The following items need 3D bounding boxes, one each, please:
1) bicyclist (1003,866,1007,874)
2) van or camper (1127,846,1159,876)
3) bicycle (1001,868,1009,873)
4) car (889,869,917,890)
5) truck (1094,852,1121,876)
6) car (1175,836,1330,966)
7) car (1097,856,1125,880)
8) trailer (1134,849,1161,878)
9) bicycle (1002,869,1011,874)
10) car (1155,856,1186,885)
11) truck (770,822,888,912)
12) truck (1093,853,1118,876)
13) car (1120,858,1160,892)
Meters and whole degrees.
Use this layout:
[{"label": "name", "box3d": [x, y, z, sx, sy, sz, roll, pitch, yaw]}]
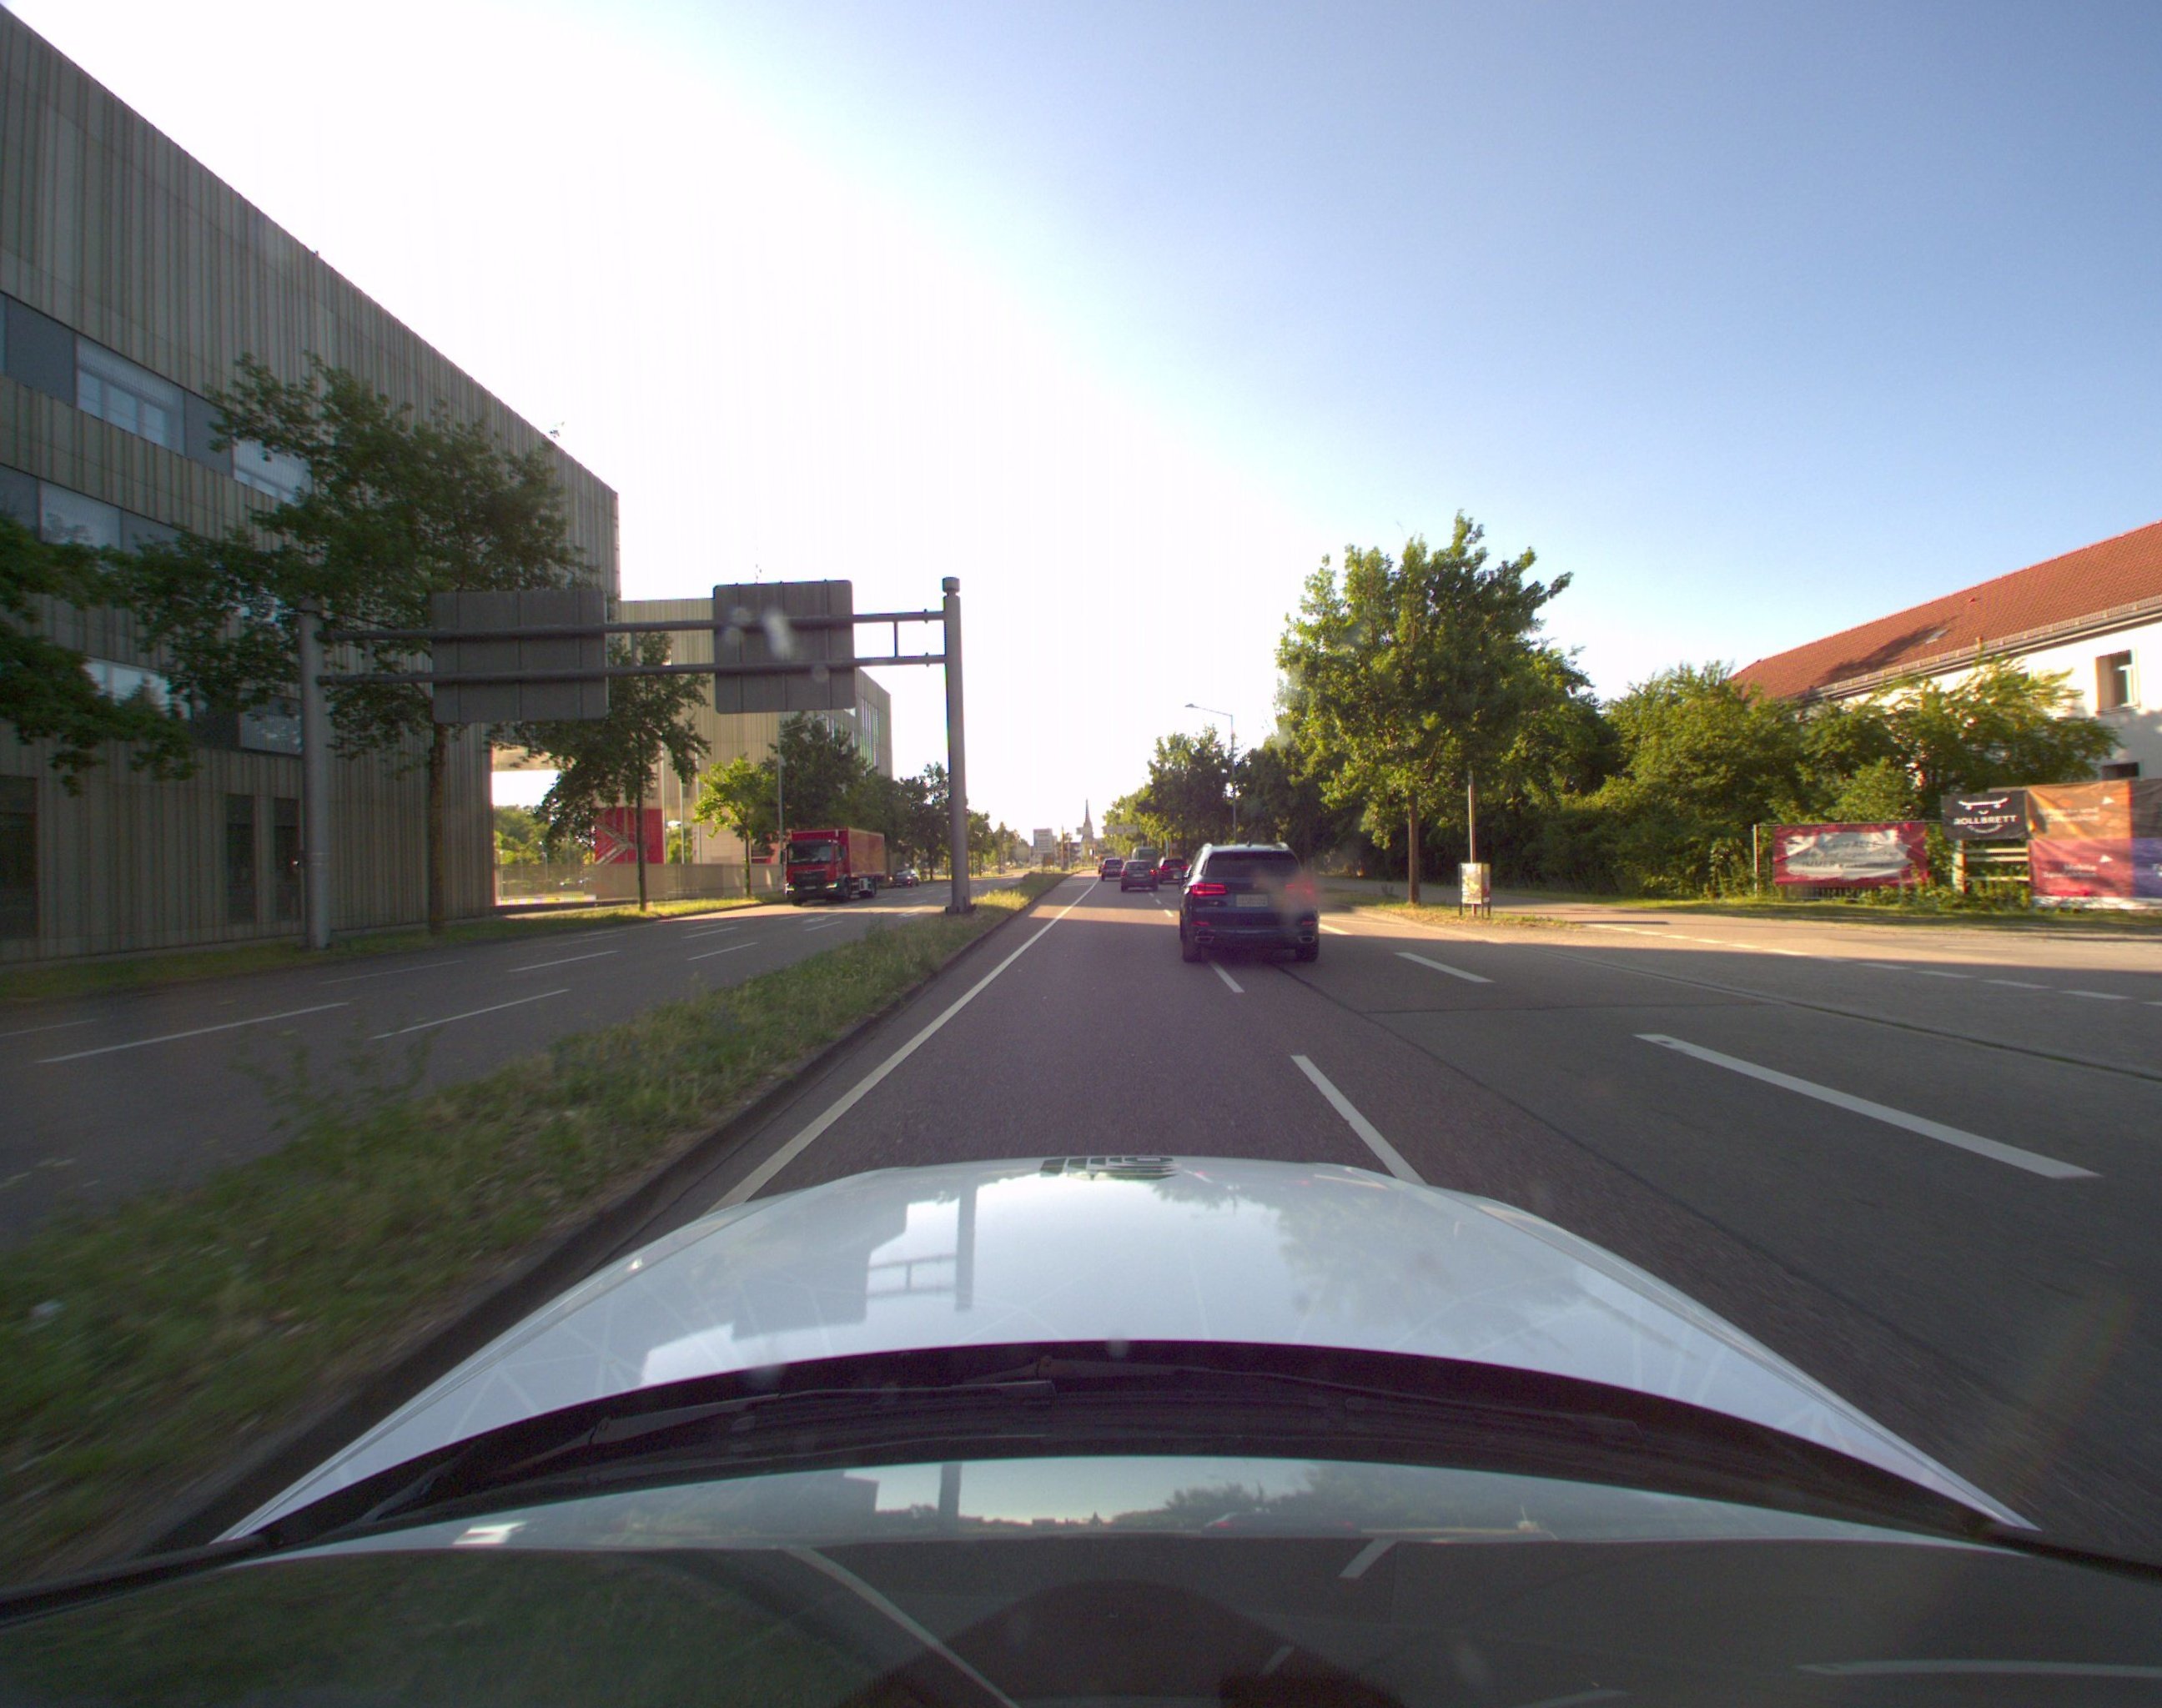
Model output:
[{"label": "bicyclist", "box3d": [-17.438, 3.593, 185.902, 0.807, 1.771, 0.498, -1, -1, 15]}, {"label": "van or camper", "box3d": [5.719, 0.680, 76.158, 2.279, 2.629, 6.577, -1, -1, -2]}, {"label": "bicycle", "box3d": [-17.371, 3.731, 185.896, 1.894, 1.020, 0.506, -1, -1, 15]}, {"label": "car", "box3d": [-14.010, 1.977, 64.215, 1.593, 1.512, 3.861, -2, 0, -4]}, {"label": "truck", "box3d": [3.218, 1.178, 97.966, 2.204, 2.651, 4.791, -2, -1, 14]}, {"label": "car", "box3d": [2.577, 0.690, 13.368, 1.945, 1.727, 4.706, -1, -1, 5]}, {"label": "car", "box3d": [2.161, 1.019, 59.166, 1.898, 1.660, 4.002, -2, -1, 2]}, {"label": "trailer", "box3d": [5.702, 0.808, 70.151, 2.083, 2.401, 3.501, -1, -1, 1]}, {"label": "bicycle", "box3d": [-17.059, 3.975, 186.678, 1.896, 1.020, 0.506, -1, -1, 11]}, {"label": "car", "box3d": [5.363, 0.957, 49.203, 1.739, 1.621, 3.824, 0, 1, 4]}, {"label": "truck", "box3d": [-12.084, 0.599, 40.234, 2.991, 3.811, 10.079, -2, 0, -2]}, {"label": "truck", "box3d": [2.962, 1.274, 98.882, 2.574, 2.558, 6.246, -2, -1, -2]}, {"label": "car", "box3d": [2.803, 0.988, 38.830, 1.740, 1.473, 3.823, -2, -1, 4]}]
